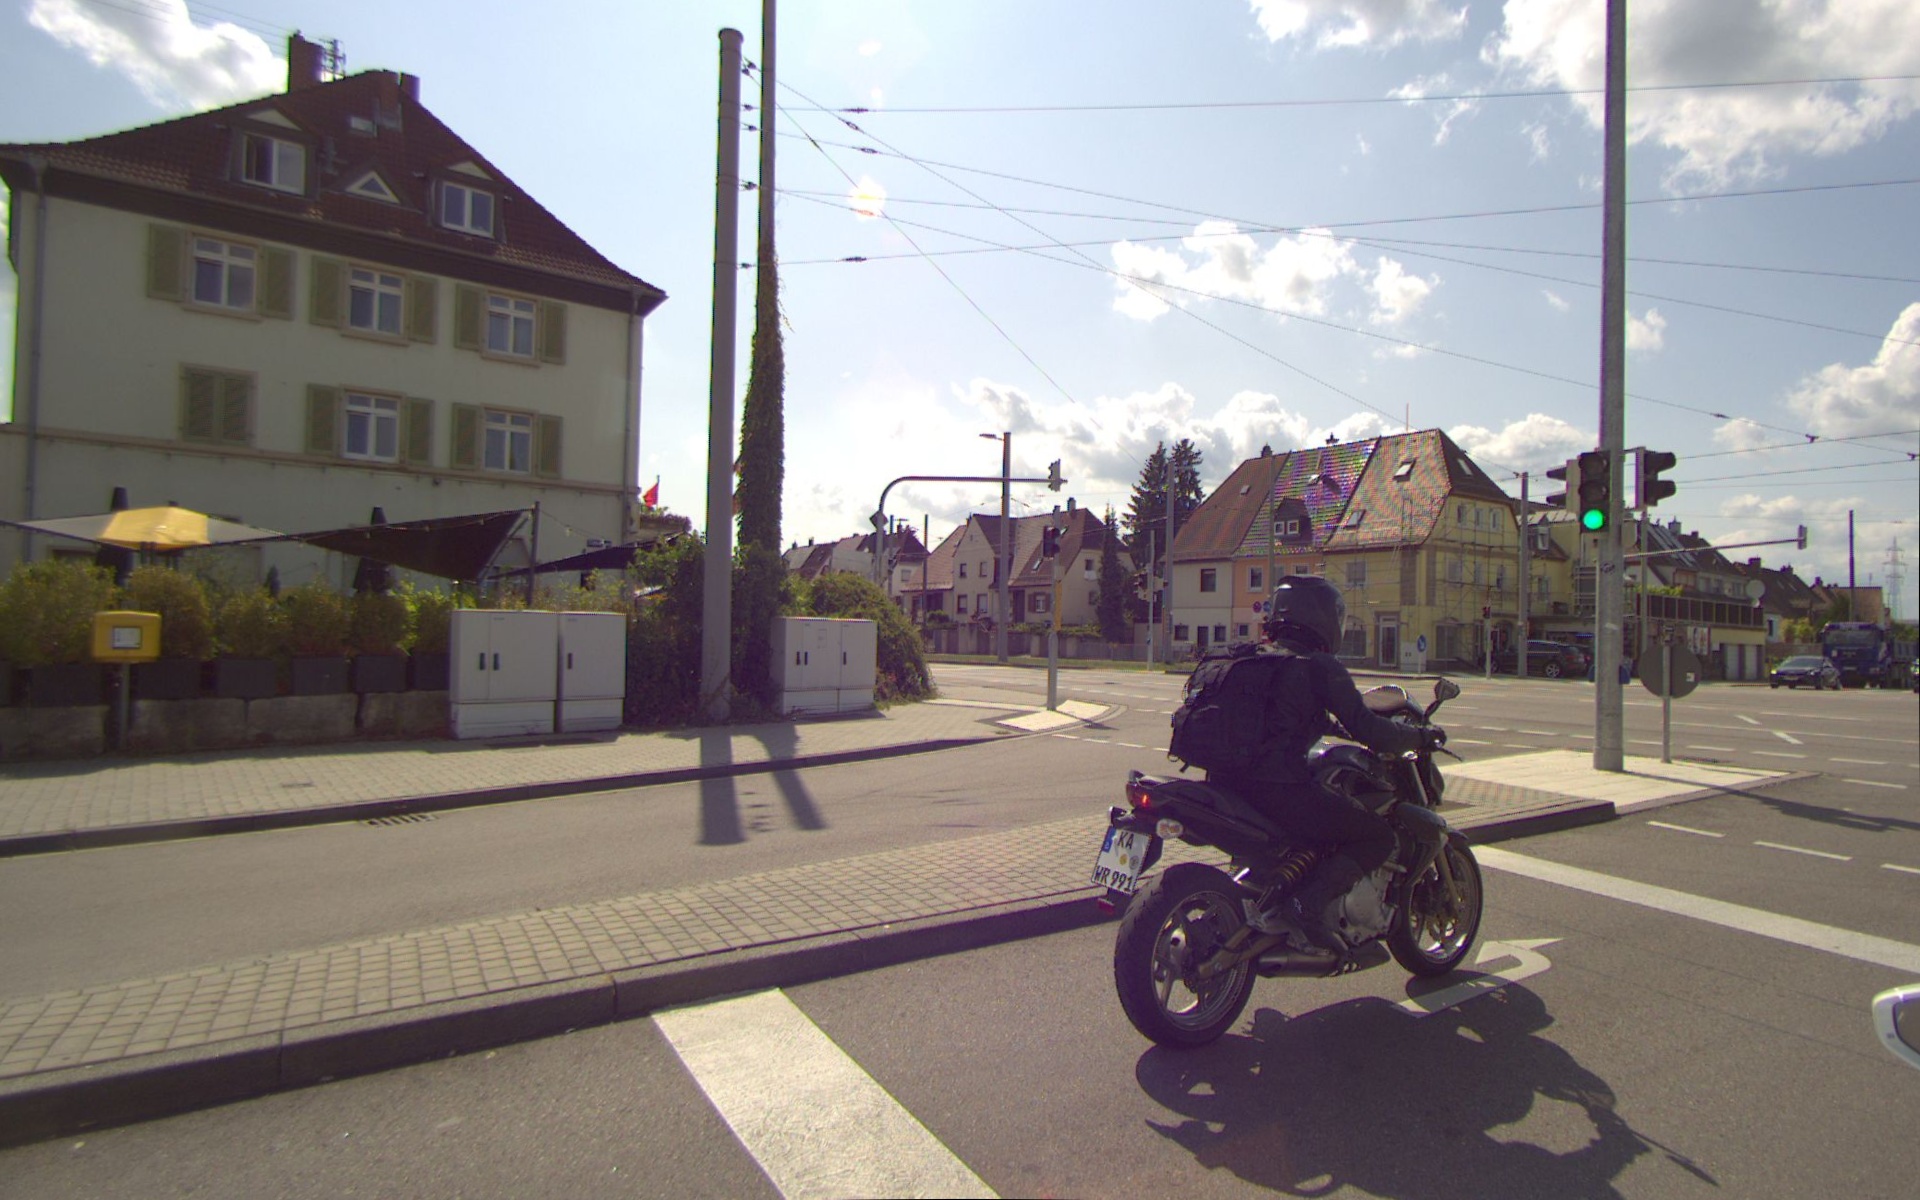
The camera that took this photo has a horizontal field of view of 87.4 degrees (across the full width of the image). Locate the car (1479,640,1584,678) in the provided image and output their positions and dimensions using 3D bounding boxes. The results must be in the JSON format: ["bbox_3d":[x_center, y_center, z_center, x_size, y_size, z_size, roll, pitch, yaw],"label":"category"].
[{"bbox_3d":[26.690,2.714,47.045,1.169,1.513,4.102,2,0,-38],"label":"car"}]

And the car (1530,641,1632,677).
[{"bbox_3d":[30.990,2.926,50.245,1.422,1.513,4.102,3,-1,-38],"label":"car"}]

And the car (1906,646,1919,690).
[{"bbox_3d":[41.012,2.825,41.777,4.401,1.743,1.773,2,-2,-38],"label":"car"}]

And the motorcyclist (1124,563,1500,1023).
[{"bbox_3d":[1.292,0.586,3.719,1.087,1.417,0.818,-1,1,-31],"label":"motorcyclist"}]

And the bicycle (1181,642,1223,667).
[{"bbox_3d":[13.840,3.116,57.359,2.429,1.373,0.770,2,-1,-30],"label":"bicycle"}]

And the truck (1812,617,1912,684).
[{"bbox_3d":[46.722,2.631,51.962,7.519,3.230,2.746,3,-3,-39],"label":"truck"}]

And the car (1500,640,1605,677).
[{"bbox_3d":[28.722,2.800,48.816,1.494,1.513,4.102,3,-1,-38],"label":"car"}]

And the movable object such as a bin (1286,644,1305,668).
[{"bbox_3d":[17.868,2.977,53.495,0.675,1.277,0.677,2,-1,-34],"label":"movable object such as a bin"}]

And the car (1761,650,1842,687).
[{"bbox_3d":[37.571,3.051,44.838,4.293,1.506,1.815,3,-3,-36],"label":"car"}]

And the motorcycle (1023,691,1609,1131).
[{"bbox_3d":[1.431,0.964,3.820,2.332,1.142,0.837,2,-2,-32],"label":"motorcycle"}]
